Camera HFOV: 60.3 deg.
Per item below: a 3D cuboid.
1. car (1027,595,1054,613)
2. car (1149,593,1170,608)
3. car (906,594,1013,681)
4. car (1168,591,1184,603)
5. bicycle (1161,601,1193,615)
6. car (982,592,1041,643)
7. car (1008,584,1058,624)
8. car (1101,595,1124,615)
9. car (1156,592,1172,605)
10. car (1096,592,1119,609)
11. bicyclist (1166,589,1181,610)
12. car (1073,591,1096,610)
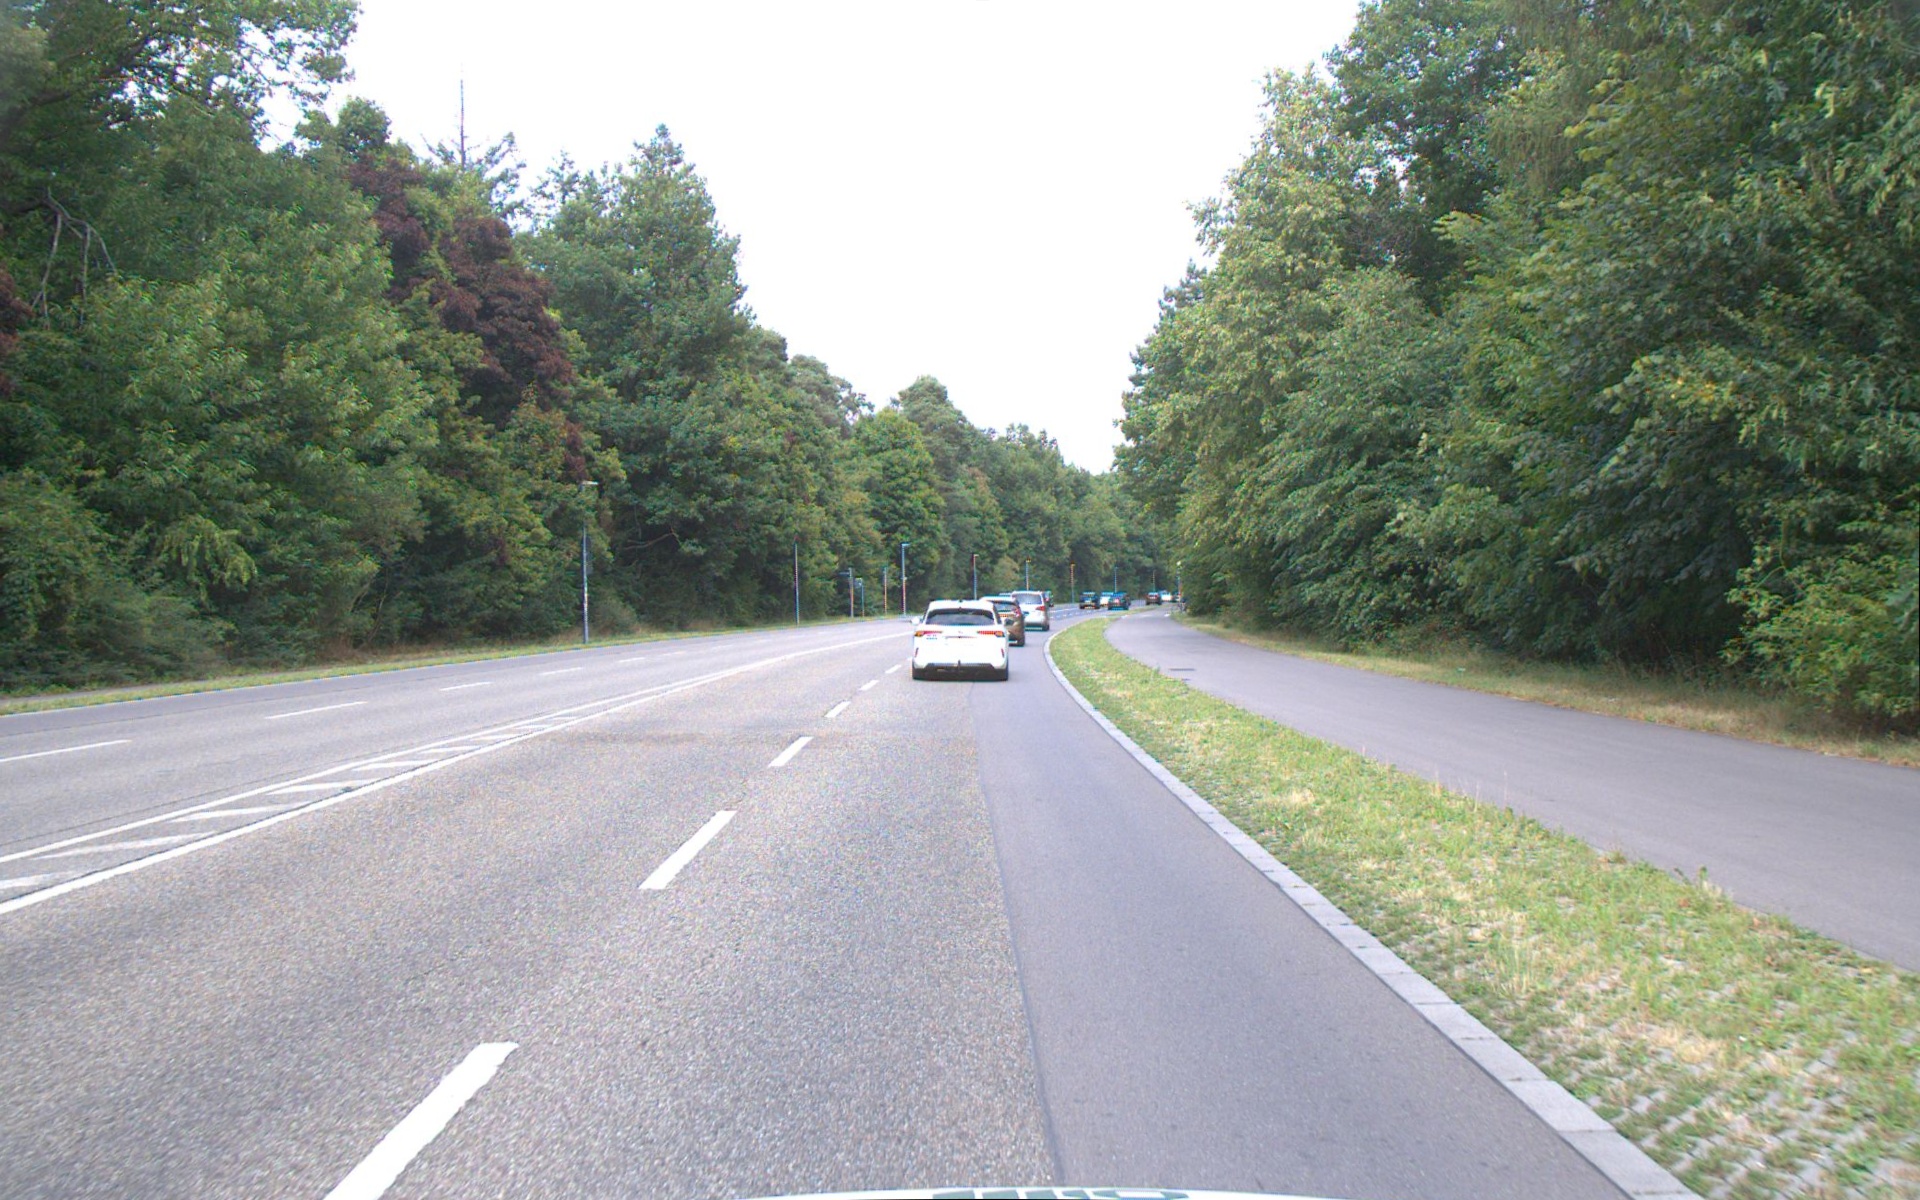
[{"bbox_3d":[8.620,0.409,176.001,1.951,1.822,4.751,2,-1,13],"label":"car"},{"bbox_3d":[24.760,0.083,205.397,1.951,1.814,4.002,2,-1,16],"label":"car"},{"bbox_3d":[-0.081,0.677,31.055,1.799,1.434,4.488,-2,0,-2],"label":"car"},{"bbox_3d":[30.590,-0.437,234.561,1.951,1.736,4.004,0,0,11],"label":"car"},{"bbox_3d":[15.562,0.561,118.508,2.133,1.011,0.710,0,0,29],"label":"bicycle"},{"bbox_3d":[1.615,0.530,50.433,1.601,1.445,4.002,2,-1,4],"label":"car"},{"bbox_3d":[3.206,0.212,72.191,1.951,1.635,4.002,2,-1,5],"label":"car"},{"bbox_3d":[14.815,0.465,160.819,1.951,1.814,4.003,2,-1,8],"label":"car"},{"bbox_3d":[30.423,-0.188,246.568,1.848,1.847,4.003,2,-1,13],"label":"car"},{"bbox_3d":[16.249,0.057,181.601,1.951,1.814,4.003,2,-1,13],"label":"car"},{"bbox_3d":[15.339,-0.042,118.621,0.881,1.496,0.710,0,0,29],"label":"bicyclist"},{"bbox_3d":[12.398,0.057,164.489,1.951,1.814,4.003,2,-1,10],"label":"car"}]
